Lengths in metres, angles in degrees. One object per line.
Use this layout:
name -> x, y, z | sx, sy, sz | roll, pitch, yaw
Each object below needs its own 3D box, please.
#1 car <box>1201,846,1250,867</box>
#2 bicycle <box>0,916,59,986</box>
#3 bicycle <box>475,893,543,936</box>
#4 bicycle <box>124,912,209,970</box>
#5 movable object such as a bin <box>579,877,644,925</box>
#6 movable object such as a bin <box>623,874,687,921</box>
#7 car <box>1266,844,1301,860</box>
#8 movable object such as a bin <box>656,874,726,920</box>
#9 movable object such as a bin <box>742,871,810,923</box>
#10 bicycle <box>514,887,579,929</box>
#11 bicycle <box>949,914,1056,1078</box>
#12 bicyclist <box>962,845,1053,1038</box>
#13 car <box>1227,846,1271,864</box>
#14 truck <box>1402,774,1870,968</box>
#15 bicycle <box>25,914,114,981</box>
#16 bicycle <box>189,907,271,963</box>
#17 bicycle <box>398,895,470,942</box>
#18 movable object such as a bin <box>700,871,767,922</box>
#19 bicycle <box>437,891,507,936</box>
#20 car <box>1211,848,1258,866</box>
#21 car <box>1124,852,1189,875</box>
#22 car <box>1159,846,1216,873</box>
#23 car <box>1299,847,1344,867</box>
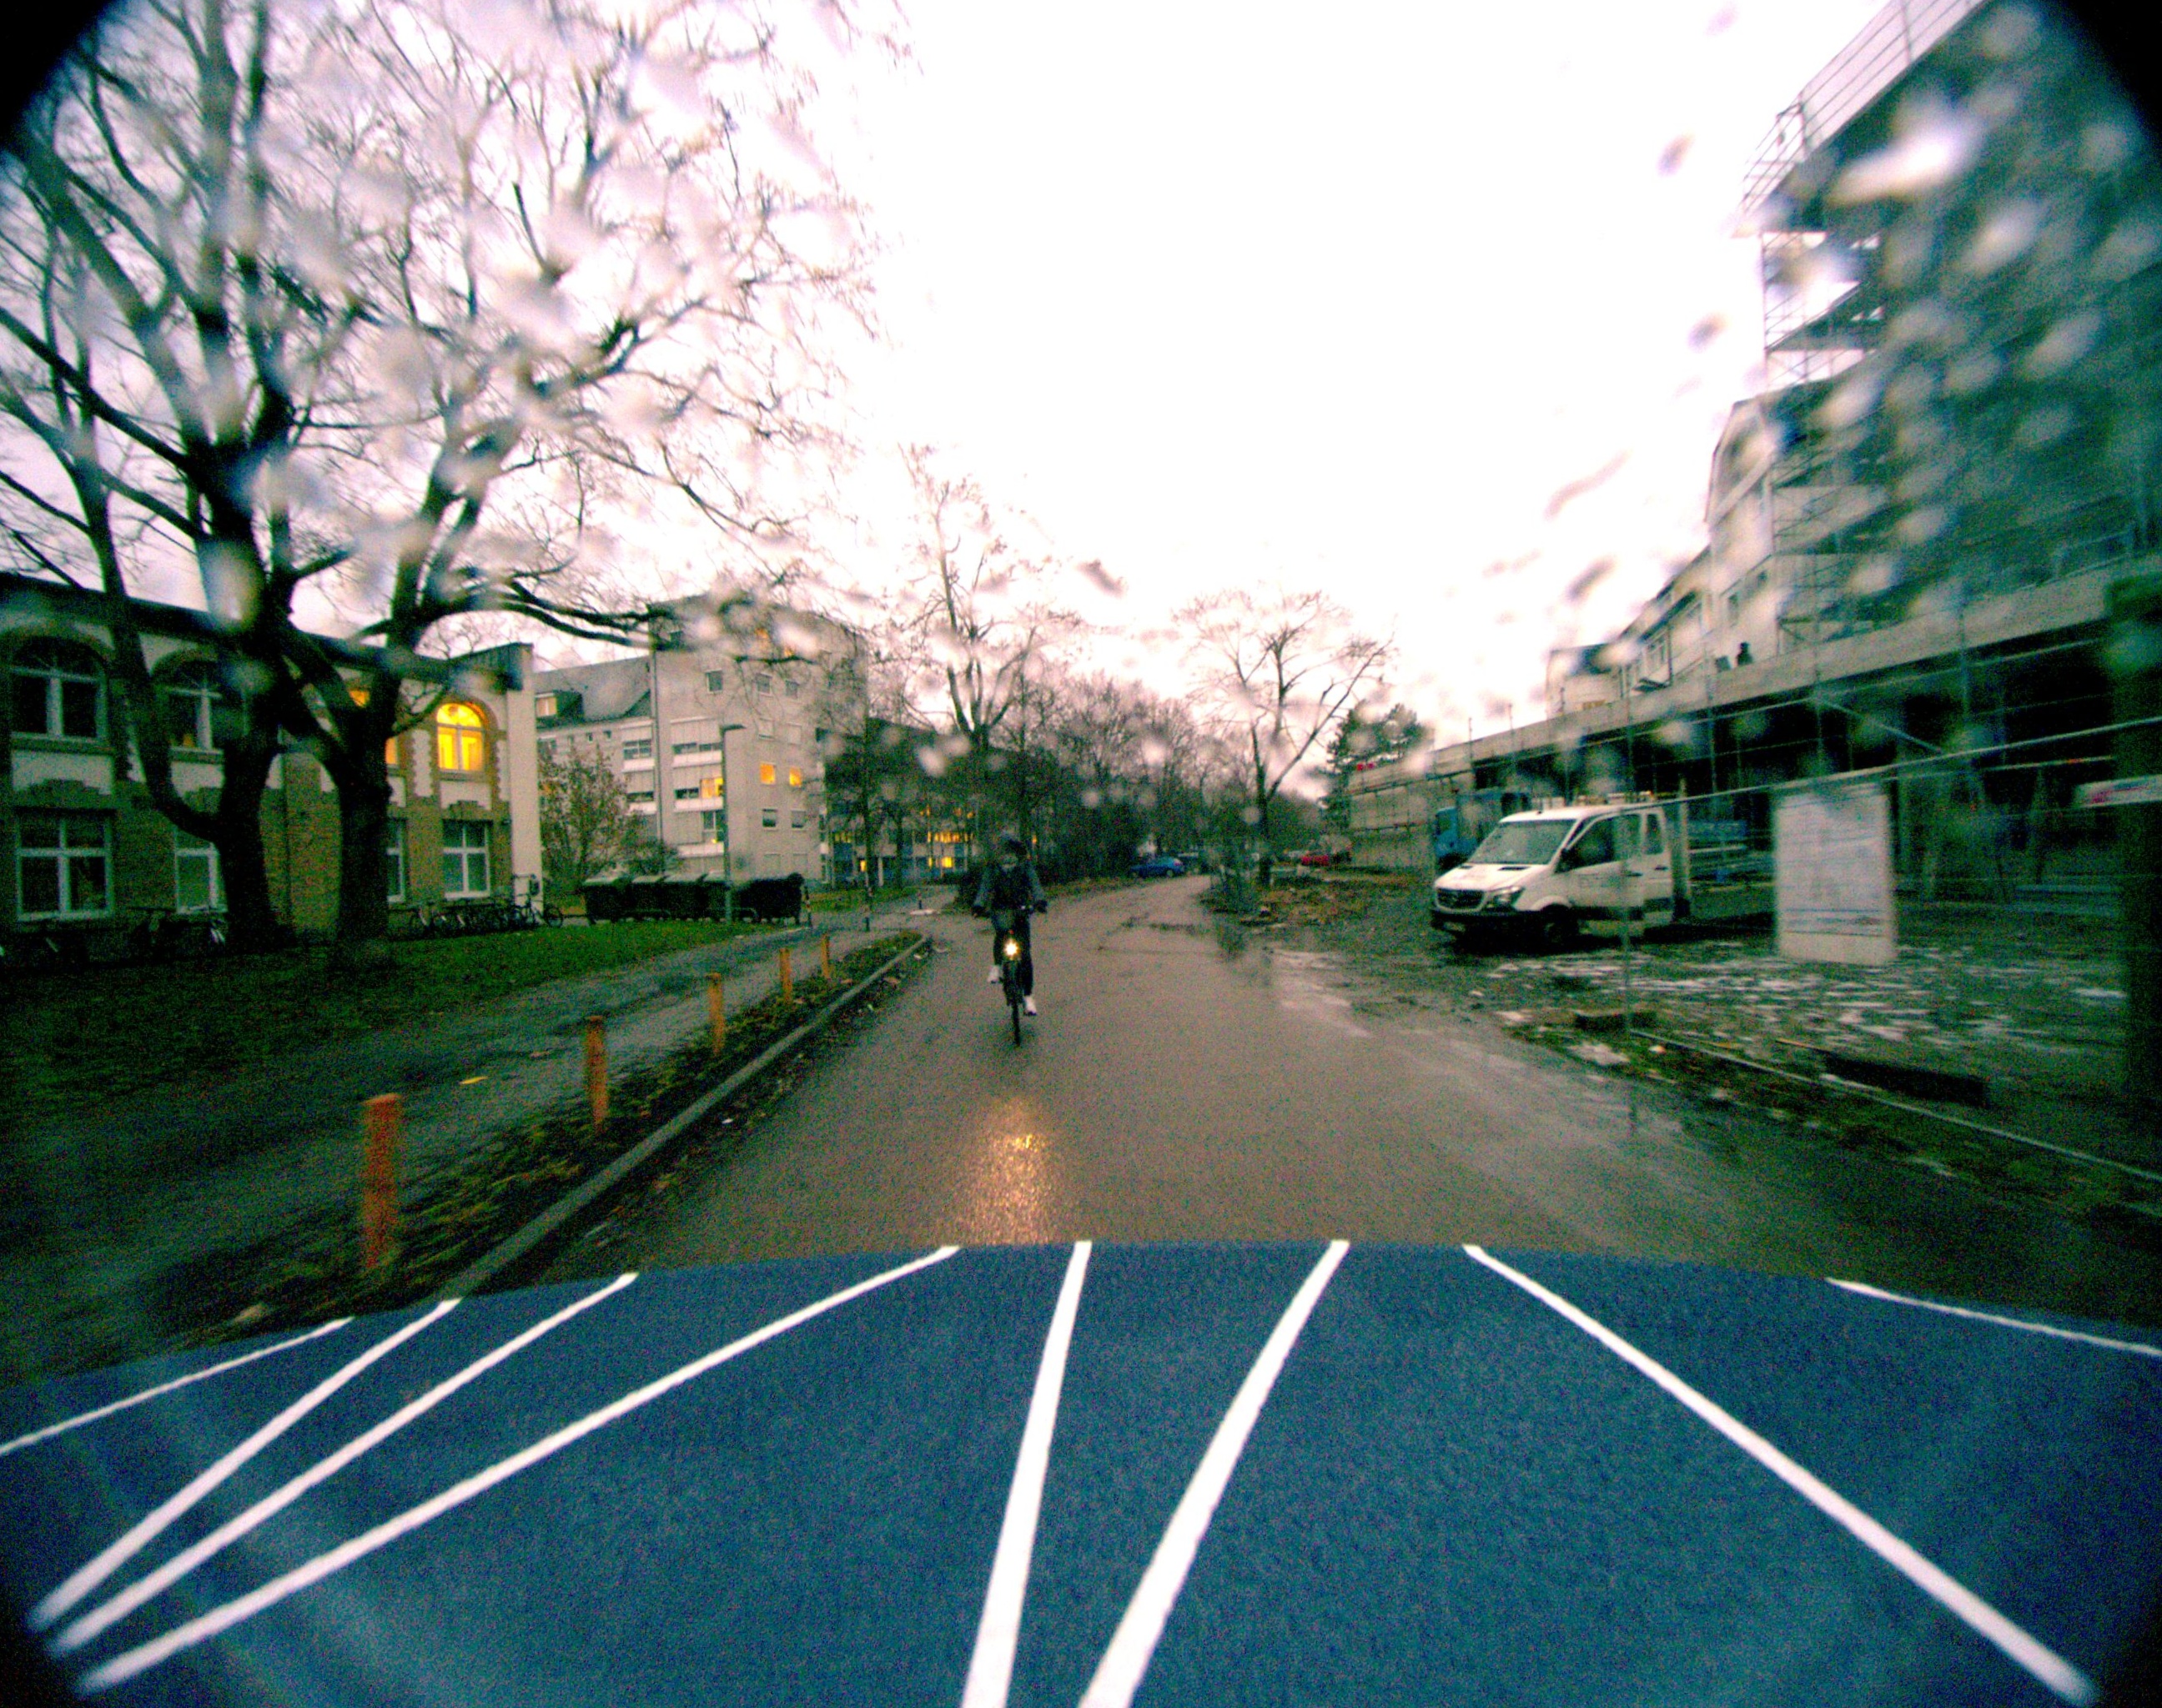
car -> 13.096, 0.244, 68.910 | 3.990, 1.785, 1.805 | -2, 1, 26
bicycle -> -19.499, 1.740, 13.874 | 2.136, 1.150, 0.574 | -2, 1, 26
bicycle -> -16.325, 1.714, 21.673 | 2.136, 1.150, 0.574 | -2, 1, 26
bicycle -> -18.786, 1.757, 15.599 | 2.136, 1.086, 0.574 | -2, 1, 26
movable object such as a bin -> -13.725, 1.366, 22.218 | 1.261, 1.306, 0.989 | -2, 1, 19
movable object such as a bin -> -12.324, 1.256, 21.999 | 1.249, 1.272, 0.989 | -2, 1, 19
car -> 25.338, -0.239, 95.157 | 3.990, 1.785, 1.805 | -2, 1, 26
movable object such as a bin -> -10.982, 1.204, 21.413 | 1.435, 1.218, 0.989 | -2, 1, 19
movable object such as a bin -> -8.172, 1.131, 20.396 | 1.322, 1.309, 1.063 | 0, 1, 6
bicycle -> -15.878, 1.589, 22.545 | 2.136, 1.150, 0.574 | -2, 1, 26
bicycle -> -0.655, 1.201, 6.982 | 0.730, 1.126, 1.894 | -2, 1, 0
bicyclist -> -0.659, 0.765, 7.035 | 0.706, 1.679, 0.771 | -2, 1, 0
car -> 17.234, 0.118, 78.020 | 3.990, 1.785, 1.805 | -2, 1, 26
truck -> 9.291, 0.169, 12.829 | 7.082, 2.573, 2.130 | -3, 1, -12
bicycle -> -19.244, 1.747, 14.441 | 2.136, 1.150, 0.574 | -2, 1, 26
bicycle -> -18.436, 1.728, 16.444 | 2.136, 1.104, 0.574 | -2, 1, 26
bicycle -> -16.936, 1.660, 19.887 | 2.136, 1.150, 0.574 | -2, 1, 26
movable object such as a bin -> -9.521, 1.152, 20.853 | 1.305, 1.306, 0.989 | -2, 1, 19
bicycle -> -16.610, 1.614, 20.716 | 2.136, 1.150, 0.574 | -2, 1, 26
car -> 14.654, 0.296, 72.539 | 3.990, 1.652, 2.003 | -2, 1, 26
car -> 5.407, 0.707, 54.197 | 4.171, 1.469, 2.004 | -1, -2, 22
car -> 8.340, 0.398, 59.405 | 3.990, 1.980, 2.003 | -2, 1, 26
car -> 19.088, 0.237, 60.271 | 3.302, 1.514, 1.706 | -2, 1, 21
